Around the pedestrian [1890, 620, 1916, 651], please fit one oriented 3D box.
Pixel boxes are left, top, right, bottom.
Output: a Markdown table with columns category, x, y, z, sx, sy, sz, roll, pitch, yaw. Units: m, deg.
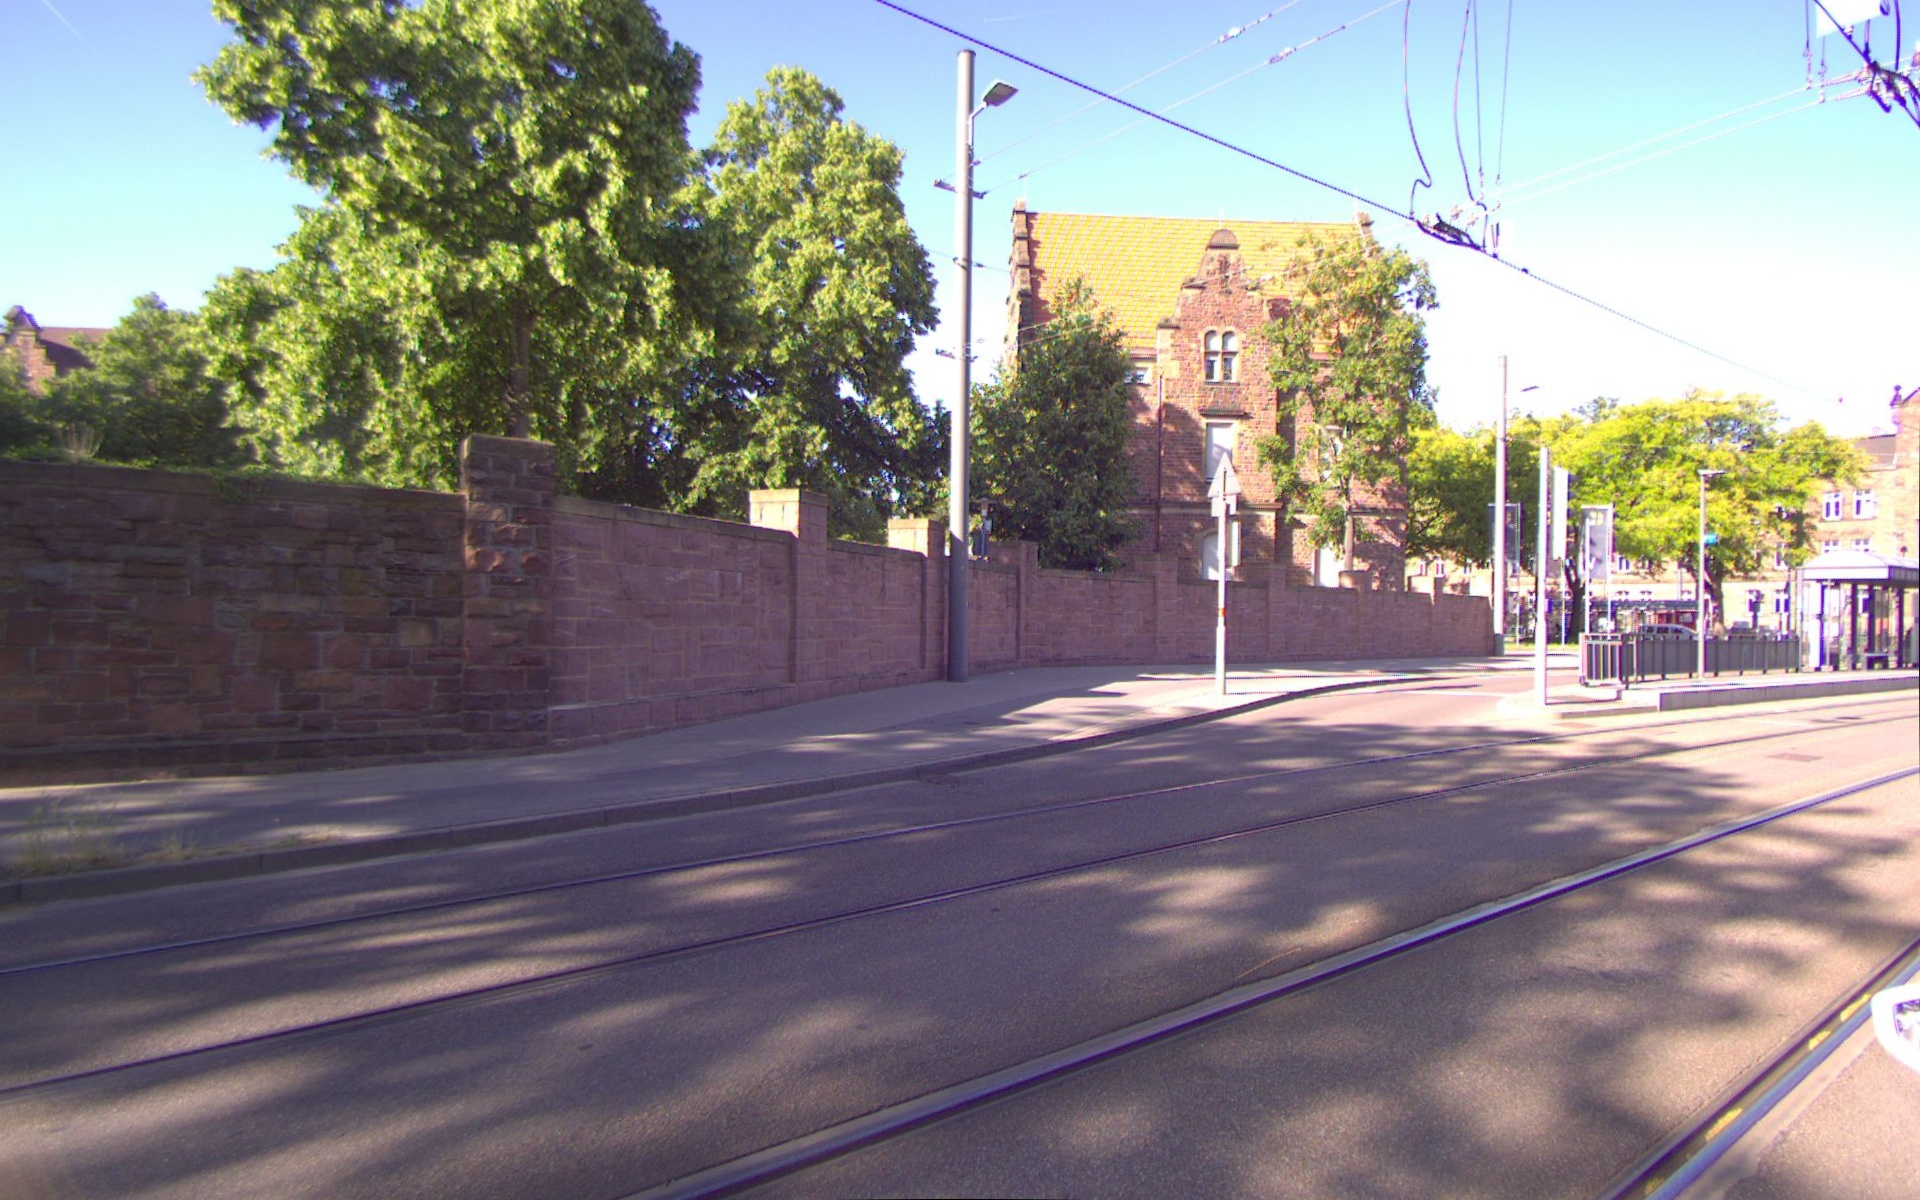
| category | x | y | z | sx | sy | sz | roll | pitch | yaw |
| --- | --- | --- | --- | --- | --- | --- | --- | --- | --- |
| pedestrian | 53.901 | 2.012 | 57.415 | 1.017 | 1.714 | 0.839 | 2 | 0 | -30 |

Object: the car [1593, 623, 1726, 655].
| category | x | y | z | sx | sy | sz | roll | pitch | yaw |
| --- | --- | --- | --- | --- | --- | --- | --- | --- | --- |
| car | 47.875 | 2.600 | 68.934 | 2.957 | 1.946 | 6.915 | 1 | -1 | -30 |
